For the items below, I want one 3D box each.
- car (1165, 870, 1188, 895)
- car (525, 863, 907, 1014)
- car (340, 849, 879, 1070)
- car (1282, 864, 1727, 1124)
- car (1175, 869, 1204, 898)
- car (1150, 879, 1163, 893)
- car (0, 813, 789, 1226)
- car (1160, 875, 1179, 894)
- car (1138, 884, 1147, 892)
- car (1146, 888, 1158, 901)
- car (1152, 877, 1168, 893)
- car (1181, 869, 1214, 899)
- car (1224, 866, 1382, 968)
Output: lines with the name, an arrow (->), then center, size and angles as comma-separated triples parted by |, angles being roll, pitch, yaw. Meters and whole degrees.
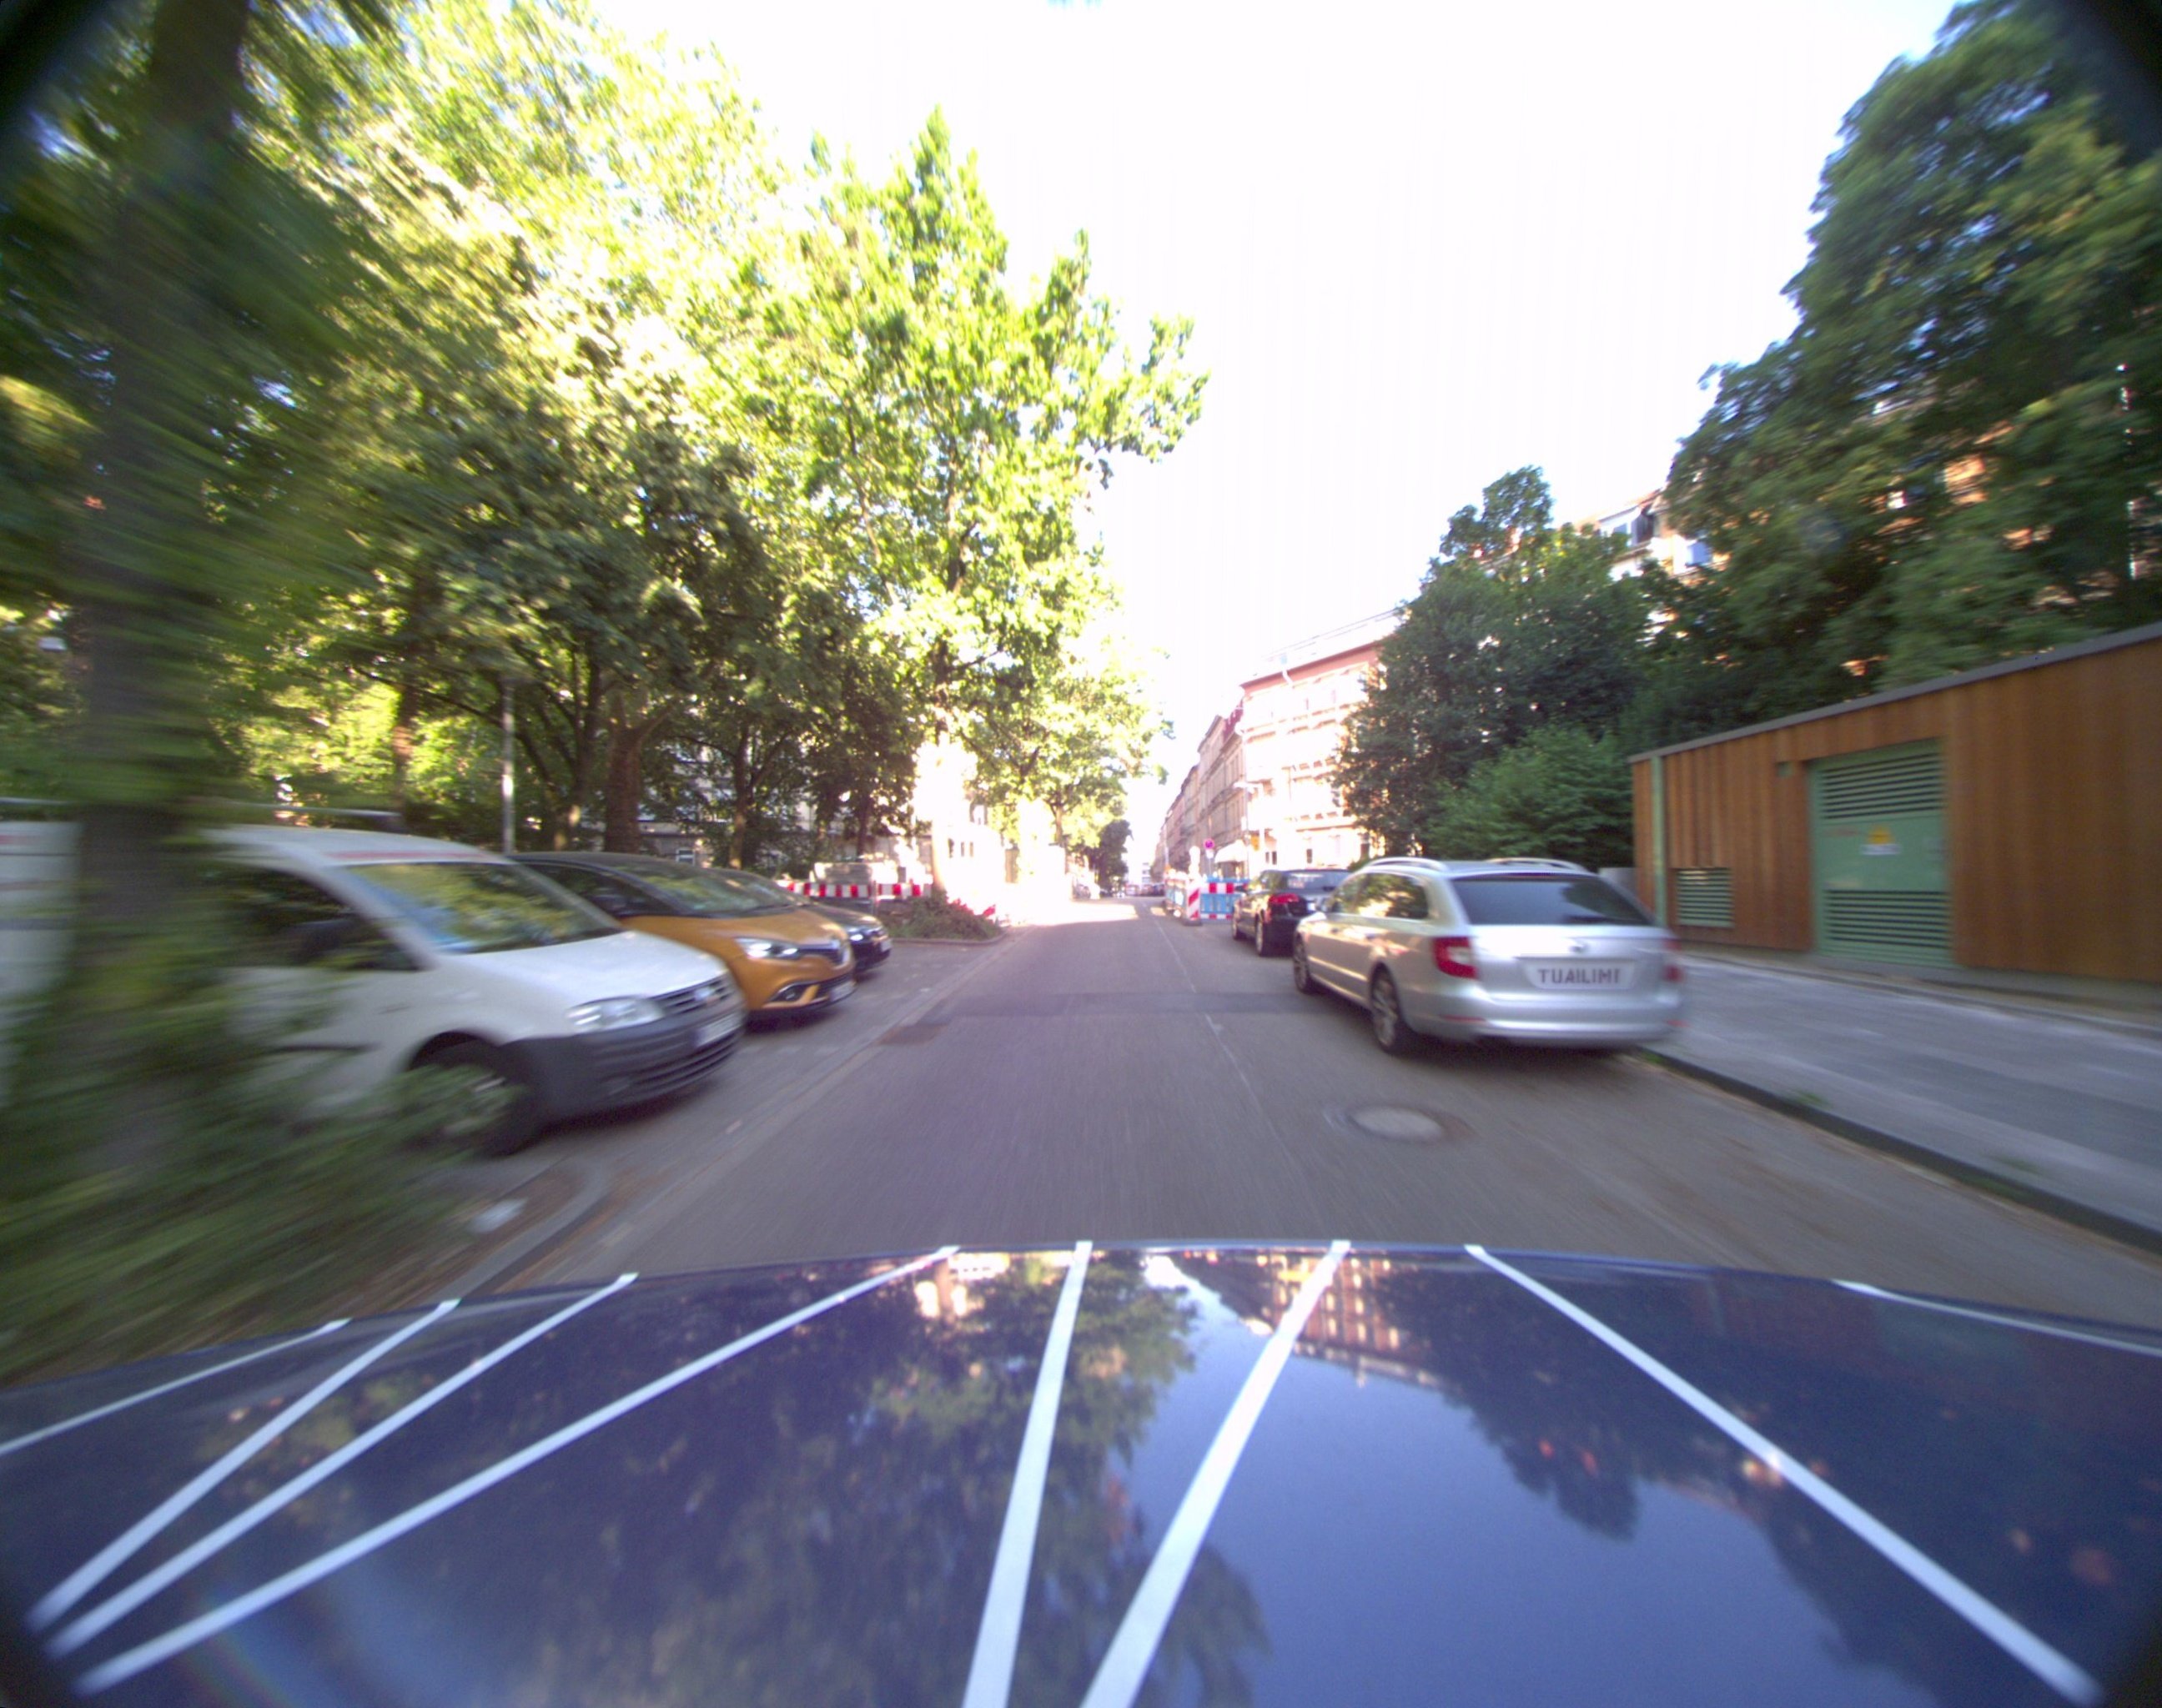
car -> 8.591, 2.543, 68.650 | 1.703, 2.103, 4.195 | 1, 0, 4
car -> -4.472, 0.999, 9.817 | 3.998, 1.618, 1.798 | -2, 0, -2
car -> -4.208, 0.905, 7.174 | 3.995, 1.747, 1.799 | -2, 0, 6
car -> 3.147, 0.870, 6.867 | 1.703, 1.489, 4.551 | 1, 0, 4
car -> 7.596, 2.051, 53.592 | 1.703, 1.829, 4.195 | 1, 0, 4
car -> 10.340, 4.402, 104.115 | 1.703, 1.740, 4.195 | 1, 0, 4
car -> -4.490, 0.781, 4.591 | 4.683, 1.913, 1.872 | 1, 0, 0
car -> 9.131, 3.126, 78.743 | 1.703, 1.740, 4.195 | 1, 0, 4
car -> 13.651, 7.531, 168.890 | 1.703, 1.740, 4.195 | 1, 0, 4
car -> 10.896, 6.198, 117.294 | 1.703, 1.740, 4.195 | 1, 0, 4
car -> 9.673, 3.785, 93.119 | 1.703, 1.740, 4.195 | 1, 0, 4
car -> 7.435, 1.875, 48.791 | 1.703, 1.794, 4.195 | 1, 0, 4
car -> 3.574, 0.940, 13.005 | 1.703, 1.391, 4.195 | 1, 0, 4
